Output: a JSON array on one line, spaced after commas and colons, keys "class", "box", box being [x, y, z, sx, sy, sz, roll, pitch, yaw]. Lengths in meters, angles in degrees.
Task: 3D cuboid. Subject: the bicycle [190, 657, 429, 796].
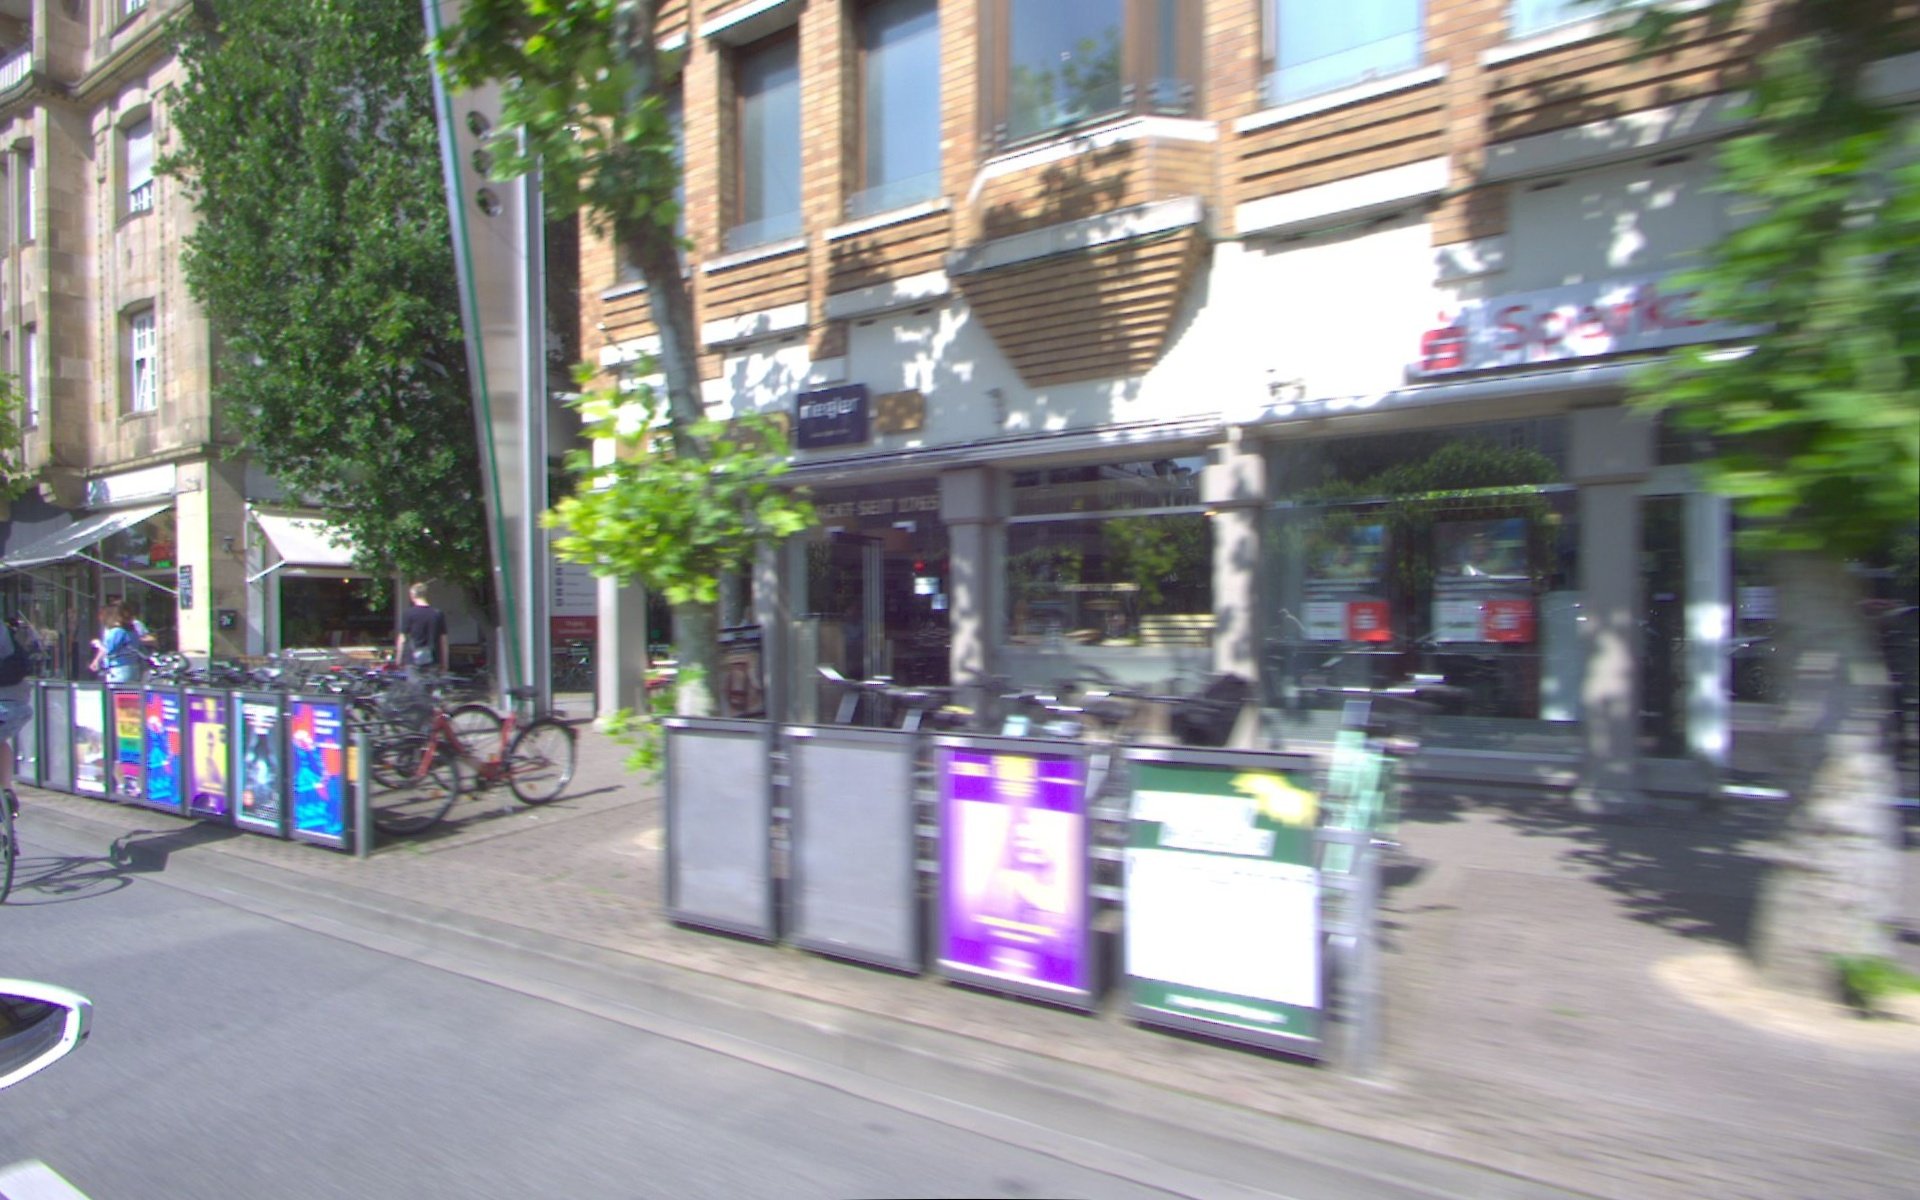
[{"class": "bicycle", "box": [-5.653, 1.056, 8.818, 0.475, 1.031, 1.750, 0, -1, 30]}]

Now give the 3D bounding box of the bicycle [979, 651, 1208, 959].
[{"class": "bicycle", "box": [0.722, 0.860, 4.860, 0.475, 1.162, 1.750, 0, -1, 30]}]

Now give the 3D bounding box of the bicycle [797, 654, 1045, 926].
[{"class": "bicycle", "box": [-0.130, 0.899, 5.373, 0.475, 1.162, 1.750, 0, -1, 30]}]

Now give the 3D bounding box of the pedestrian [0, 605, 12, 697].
[{"class": "pedestrian", "box": [-18.040, 0.959, 18.637, 0.494, 1.705, 0.532, -3, 1, -41]}]

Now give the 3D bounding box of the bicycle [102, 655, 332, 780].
[{"class": "bicycle", "box": [-7.103, 1.080, 9.672, 0.475, 1.031, 1.750, 0, -1, 30]}]

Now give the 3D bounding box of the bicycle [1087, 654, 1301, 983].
[{"class": "bicycle", "box": [1.144, 0.863, 4.611, 0.475, 1.162, 1.750, 0, -1, 30]}]

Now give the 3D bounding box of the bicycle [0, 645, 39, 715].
[{"class": "bicycle", "box": [-14.871, 1.217, 14.796, 0.578, 1.031, 1.750, 0, 0, 30]}]

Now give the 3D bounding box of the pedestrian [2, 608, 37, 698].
[{"class": "pedestrian", "box": [-18.029, 1.007, 19.208, 0.377, 1.705, 0.473, -2, 1, -35]}]

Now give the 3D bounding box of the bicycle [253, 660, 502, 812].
[{"class": "bicycle", "box": [-4.653, 1.035, 8.137, 0.475, 1.031, 1.750, 0, -1, 30]}]

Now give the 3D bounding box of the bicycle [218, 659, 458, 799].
[{"class": "bicycle", "box": [-5.203, 1.035, 8.492, 0.475, 0.998, 1.715, 0, -1, 30]}]

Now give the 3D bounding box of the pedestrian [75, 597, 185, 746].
[{"class": "pedestrian", "box": [-9.530, 0.794, 11.508, 0.690, 1.648, 0.695, -1, 1, 23]}]

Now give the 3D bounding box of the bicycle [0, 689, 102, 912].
[{"class": "bicycle", "box": [-5.904, 1.100, 5.832, 2.099, 1.106, 0.733, -1, -2, 31]}]

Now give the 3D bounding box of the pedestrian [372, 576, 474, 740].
[{"class": "pedestrian", "box": [-6.224, 0.647, 11.610, 0.972, 1.804, 0.665, -1, 0, 36]}]

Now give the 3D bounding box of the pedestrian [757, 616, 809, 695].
[{"class": "pedestrian", "box": [-2.932, 0.919, 16.547, 0.779, 1.271, 0.639, 1, -2, -15]}]

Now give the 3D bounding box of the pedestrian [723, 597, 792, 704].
[{"class": "pedestrian", "box": [-2.510, 0.624, 12.383, 0.779, 1.271, 0.639, 1, -2, -15]}]

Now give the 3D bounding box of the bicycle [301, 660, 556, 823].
[{"class": "bicycle", "box": [-3.989, 1.015, 7.670, 0.475, 1.031, 1.750, 0, -1, 30]}]

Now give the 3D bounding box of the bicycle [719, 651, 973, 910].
[{"class": "bicycle", "box": [-0.558, 0.898, 5.614, 0.475, 1.162, 1.750, 0, -1, 30]}]

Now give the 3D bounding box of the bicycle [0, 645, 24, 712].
[{"class": "bicycle", "box": [-15.403, 1.221, 15.132, 0.549, 1.031, 1.750, 0, -1, 30]}]

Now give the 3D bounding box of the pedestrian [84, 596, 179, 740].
[{"class": "pedestrian", "box": [-9.929, 0.795, 12.011, 0.634, 1.648, 0.598, 0, 3, 26]}]

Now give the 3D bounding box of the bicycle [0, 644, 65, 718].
[{"class": "bicycle", "box": [-13.896, 1.160, 14.199, 0.475, 1.031, 1.750, 0, -1, 30]}]

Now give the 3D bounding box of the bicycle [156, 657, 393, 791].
[{"class": "bicycle", "box": [-6.152, 1.064, 9.097, 0.475, 1.031, 1.750, 0, -1, 30]}]

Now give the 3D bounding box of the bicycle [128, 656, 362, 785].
[{"class": "bicycle", "box": [-6.616, 1.071, 9.374, 0.475, 1.031, 1.750, 0, -1, 30]}]

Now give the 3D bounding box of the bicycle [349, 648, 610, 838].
[{"class": "bicycle", "box": [-3.412, 0.954, 7.284, 0.475, 1.162, 1.750, 0, -1, 30]}]

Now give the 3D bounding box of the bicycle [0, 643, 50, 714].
[{"class": "bicycle", "box": [-14.368, 1.153, 14.461, 0.475, 1.031, 1.750, 0, -1, 30]}]

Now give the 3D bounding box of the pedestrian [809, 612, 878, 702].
[{"class": "pedestrian", "box": [-1.698, 0.824, 14.657, 0.632, 1.271, 0.789, -1, -2, 36]}]

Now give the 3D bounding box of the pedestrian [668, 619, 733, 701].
[{"class": "pedestrian", "box": [-4.134, 0.951, 15.975, 0.779, 1.271, 0.639, 0, -2, 20]}]

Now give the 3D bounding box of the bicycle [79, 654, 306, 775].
[{"class": "bicycle", "box": [-7.561, 1.088, 9.955, 0.475, 1.031, 1.750, 0, -1, 30]}]

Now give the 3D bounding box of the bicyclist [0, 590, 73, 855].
[{"class": "bicyclist", "box": [-5.862, 0.691, 5.848, 1.126, 1.481, 0.687, -1, -2, 31]}]

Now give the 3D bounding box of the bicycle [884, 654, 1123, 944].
[{"class": "bicycle", "box": [0.300, 0.891, 5.124, 0.475, 1.162, 1.750, 0, -1, 30]}]

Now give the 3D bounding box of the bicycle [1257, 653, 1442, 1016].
[{"class": "bicycle", "box": [1.713, 0.838, 4.258, 0.475, 1.162, 1.750, 0, -1, 30]}]
